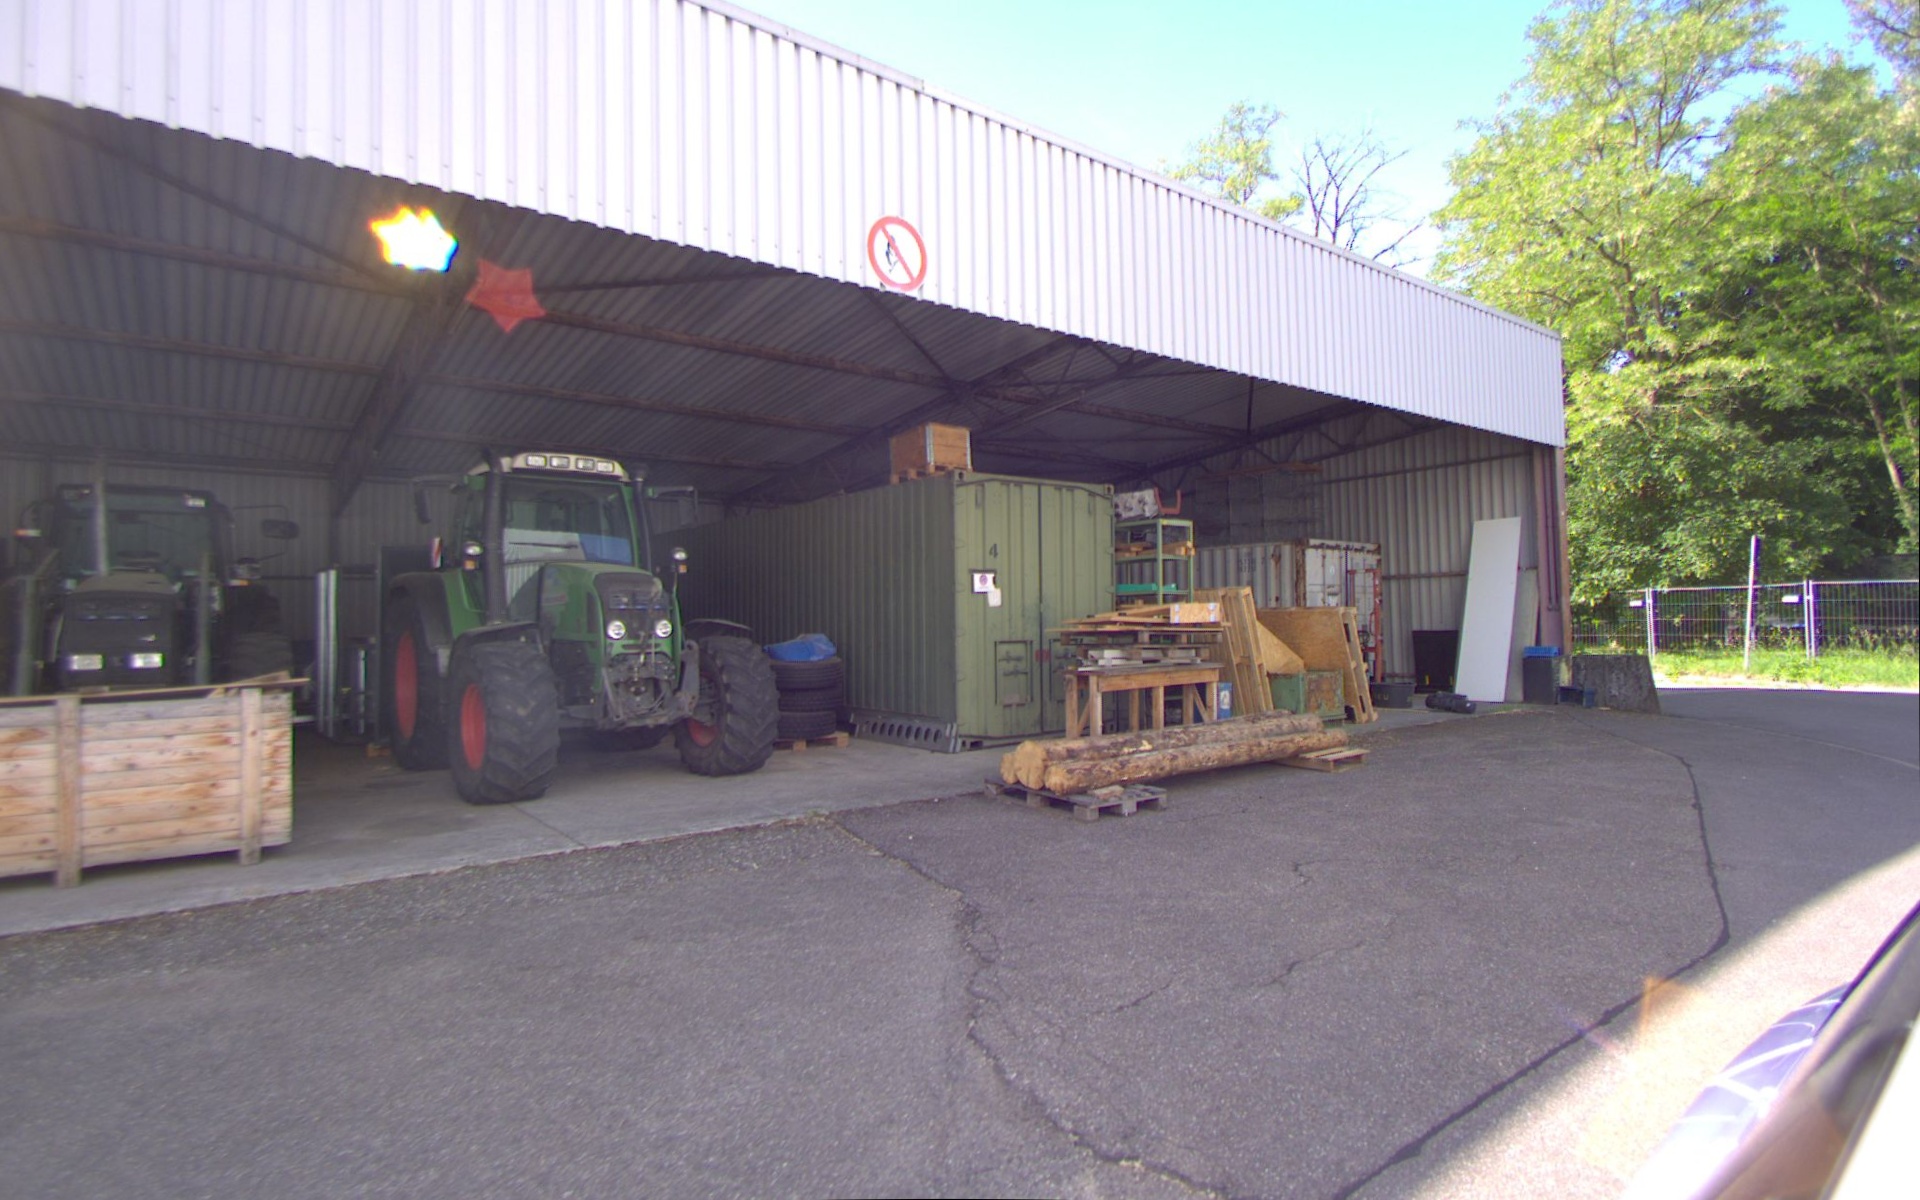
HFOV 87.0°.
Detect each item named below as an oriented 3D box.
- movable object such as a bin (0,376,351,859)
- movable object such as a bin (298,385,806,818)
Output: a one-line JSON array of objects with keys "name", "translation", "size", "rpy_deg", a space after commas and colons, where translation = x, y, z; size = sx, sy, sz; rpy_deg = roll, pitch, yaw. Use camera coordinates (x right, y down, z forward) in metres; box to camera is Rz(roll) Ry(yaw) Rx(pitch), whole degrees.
[{"name": "movable object such as a bin", "translation": [-7.408, 0.205, 8.886], "size": [2.960, 2.948, 6.201], "rpy_deg": [0, -2, -37]}, {"name": "movable object such as a bin", "translation": [-5.356, 0.160, 11.546], "size": [3.152, 2.948, 9.215], "rpy_deg": [0, -2, -37]}]
